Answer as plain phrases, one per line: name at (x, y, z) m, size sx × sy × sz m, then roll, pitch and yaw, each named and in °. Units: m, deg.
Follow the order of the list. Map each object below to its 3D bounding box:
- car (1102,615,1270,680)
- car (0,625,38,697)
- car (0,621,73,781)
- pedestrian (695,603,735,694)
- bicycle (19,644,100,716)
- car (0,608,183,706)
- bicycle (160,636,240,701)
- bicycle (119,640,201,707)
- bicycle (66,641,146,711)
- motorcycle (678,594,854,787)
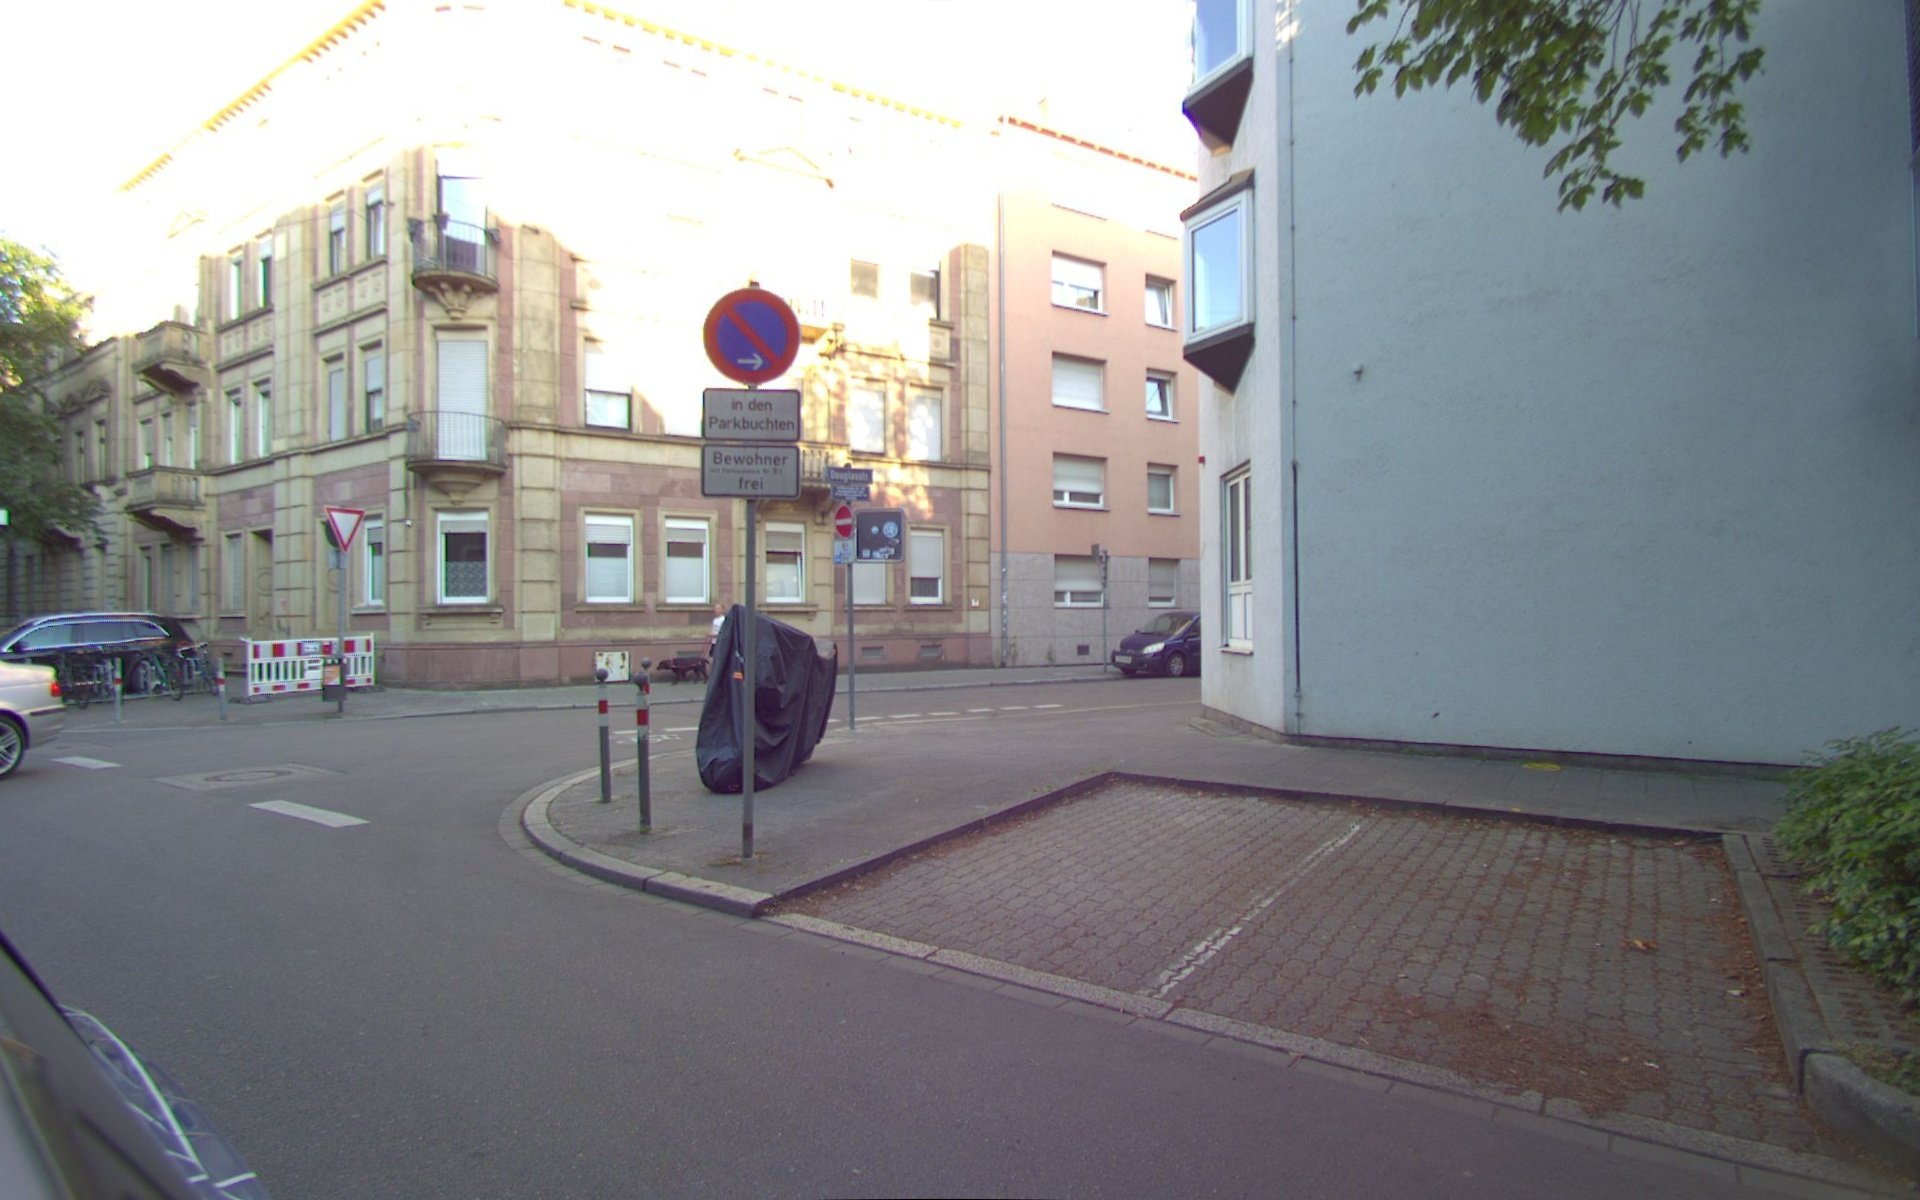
car at (5.800, 1.149, 25.801) m, size 4.297 × 1.529 × 1.789 m, roll 1°, pitch -2°, yaw -36°
car at (-24.242, 1.434, 23.344) m, size 1.740 × 1.690 × 4.190 m, roll -1°, pitch -2°, yaw 39°
car at (-9.674, 0.907, 7.808) m, size 1.690 × 1.453 × 4.432 m, roll -1°, pitch -1°, yaw 2°
pedestrian at (-5.008, 0.973, 20.687) m, size 0.640 × 1.821 × 0.575 m, roll 1°, pitch -2°, yaw -31°
bicycle at (-15.562, 1.349, 17.475) m, size 2.034 × 1.159 × 0.555 m, roll -1°, pitch -1°, yaw 34°
car at (-17.836, 1.065, 19.414) m, size 1.740 × 1.795 × 4.367 m, roll -1°, pitch -2°, yaw 39°
bicycle at (-14.384, 1.265, 19.135) m, size 2.033 × 1.159 × 0.556 m, roll -1°, pitch -1°, yaw 33°
bicycle at (-14.738, 1.327, 18.632) m, size 2.033 × 1.159 × 0.556 m, roll -1°, pitch -1°, yaw 33°
bicycle at (-15.209, 1.325, 18.004) m, size 2.034 × 1.159 × 0.555 m, roll -1°, pitch -1°, yaw 34°
motorcycle at (-1.665, 0.736, 9.151) m, size 0.809 × 1.516 × 2.276 m, roll -1°, pitch -1°, yaw 10°
